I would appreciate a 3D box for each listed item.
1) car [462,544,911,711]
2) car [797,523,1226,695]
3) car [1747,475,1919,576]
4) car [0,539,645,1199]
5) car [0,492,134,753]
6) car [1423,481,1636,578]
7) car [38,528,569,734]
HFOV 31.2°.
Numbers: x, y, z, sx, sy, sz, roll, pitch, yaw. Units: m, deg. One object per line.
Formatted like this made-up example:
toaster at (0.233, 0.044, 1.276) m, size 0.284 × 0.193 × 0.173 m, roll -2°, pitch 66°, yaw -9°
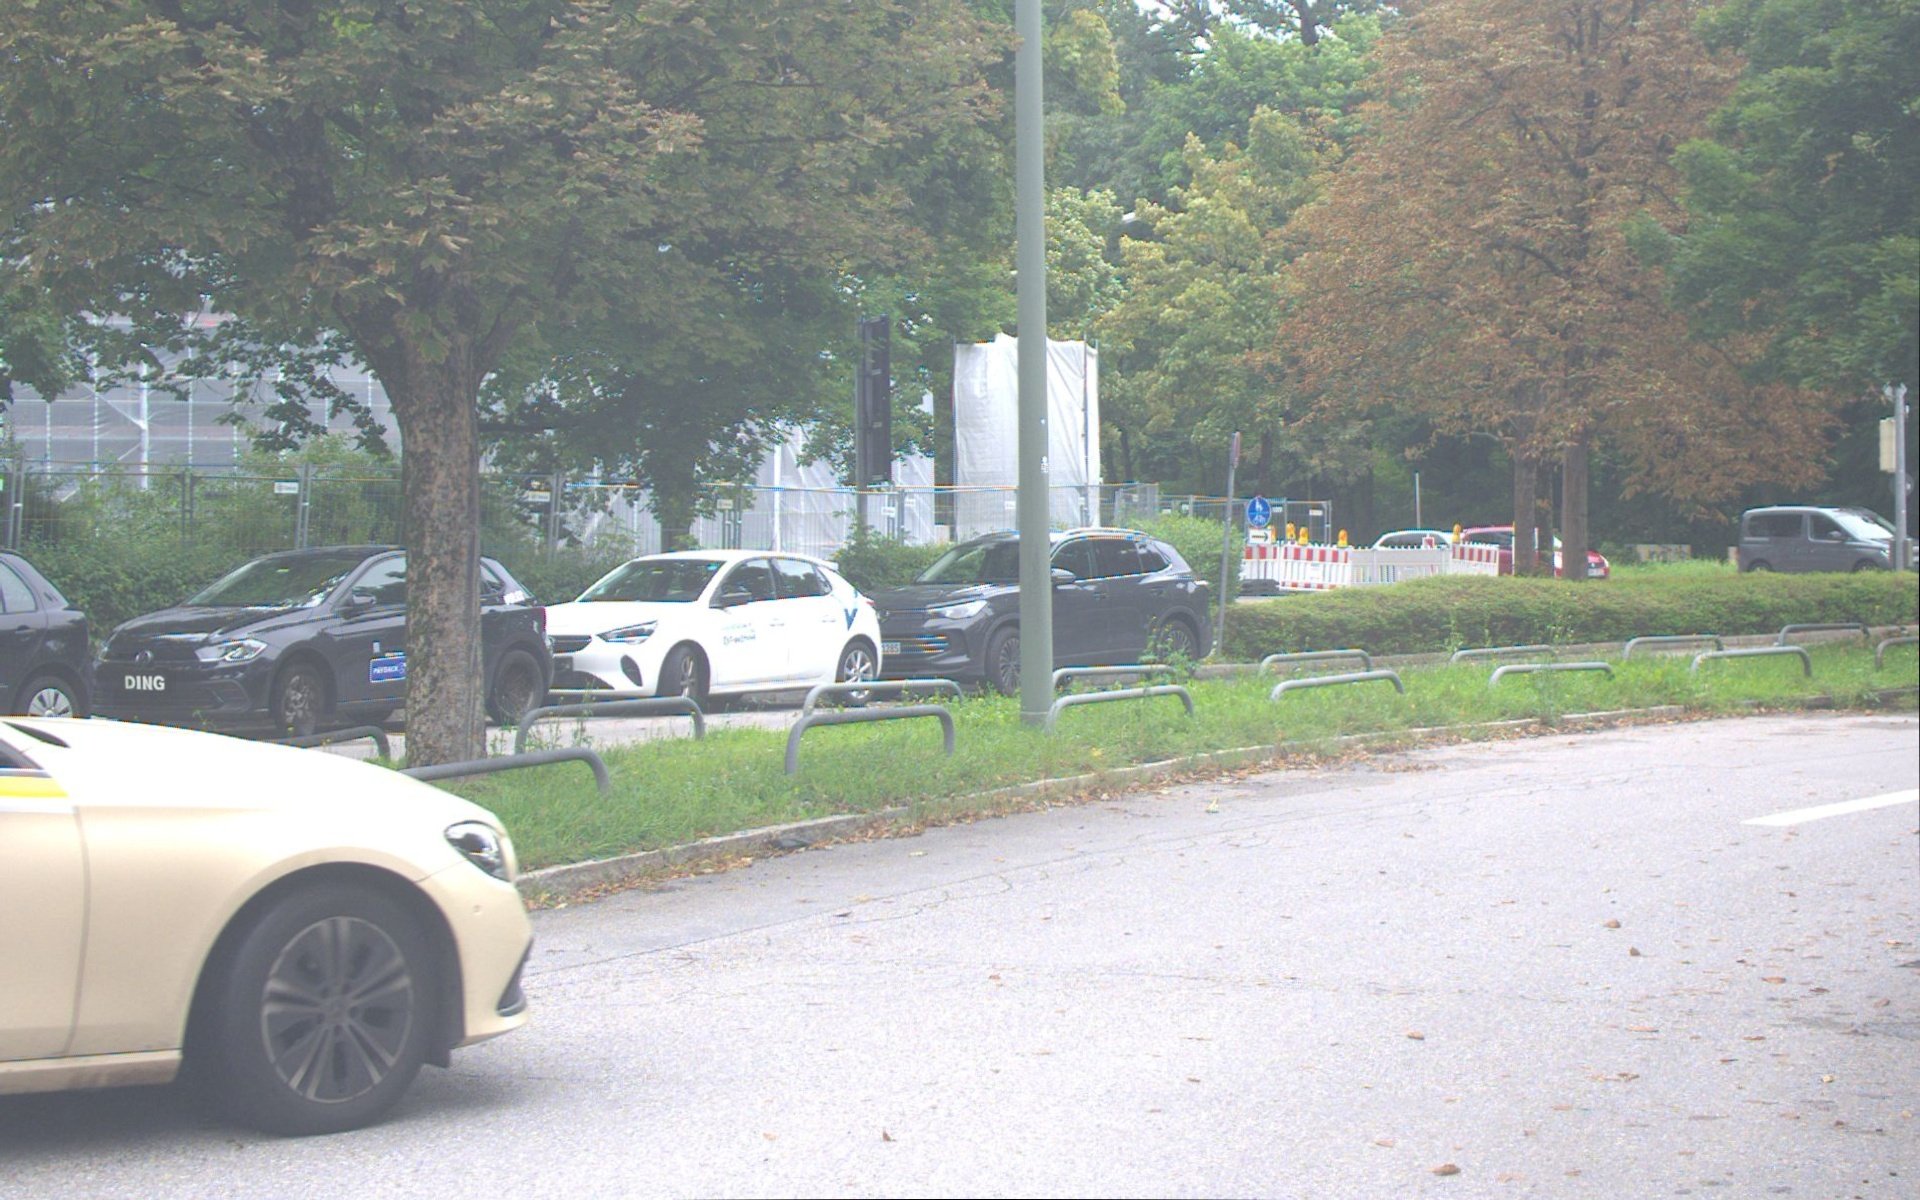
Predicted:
car at (-2.354, 0.204, 30.653) m, size 1.799 × 1.379 × 4.211 m, roll 0°, pitch 1°, yaw 33°
car at (0.579, 0.112, 34.210) m, size 1.890 × 1.601 × 4.385 m, roll 0°, pitch -1°, yaw 41°
car at (18.277, -1.511, 70.008) m, size 1.994 × 2.007 × 3.998 m, roll -1°, pitch 1°, yaw -41°
car at (-3.333, 0.636, 8.226) m, size 4.838 × 1.540 × 1.894 m, roll -1°, pitch 1°, yaw -36°
car at (-7.499, 0.163, 22.210) m, size 1.997 × 1.700 × 3.993 m, roll 0°, pitch 1°, yaw 30°
car at (12.107, -1.491, 73.210) m, size 1.994 × 2.007 × 4.156 m, roll -1°, pitch 1°, yaw -41°
car at (-4.948, 0.196, 26.440) m, size 1.837 × 1.456 × 3.999 m, roll 0°, pitch 1°, yaw 30°
